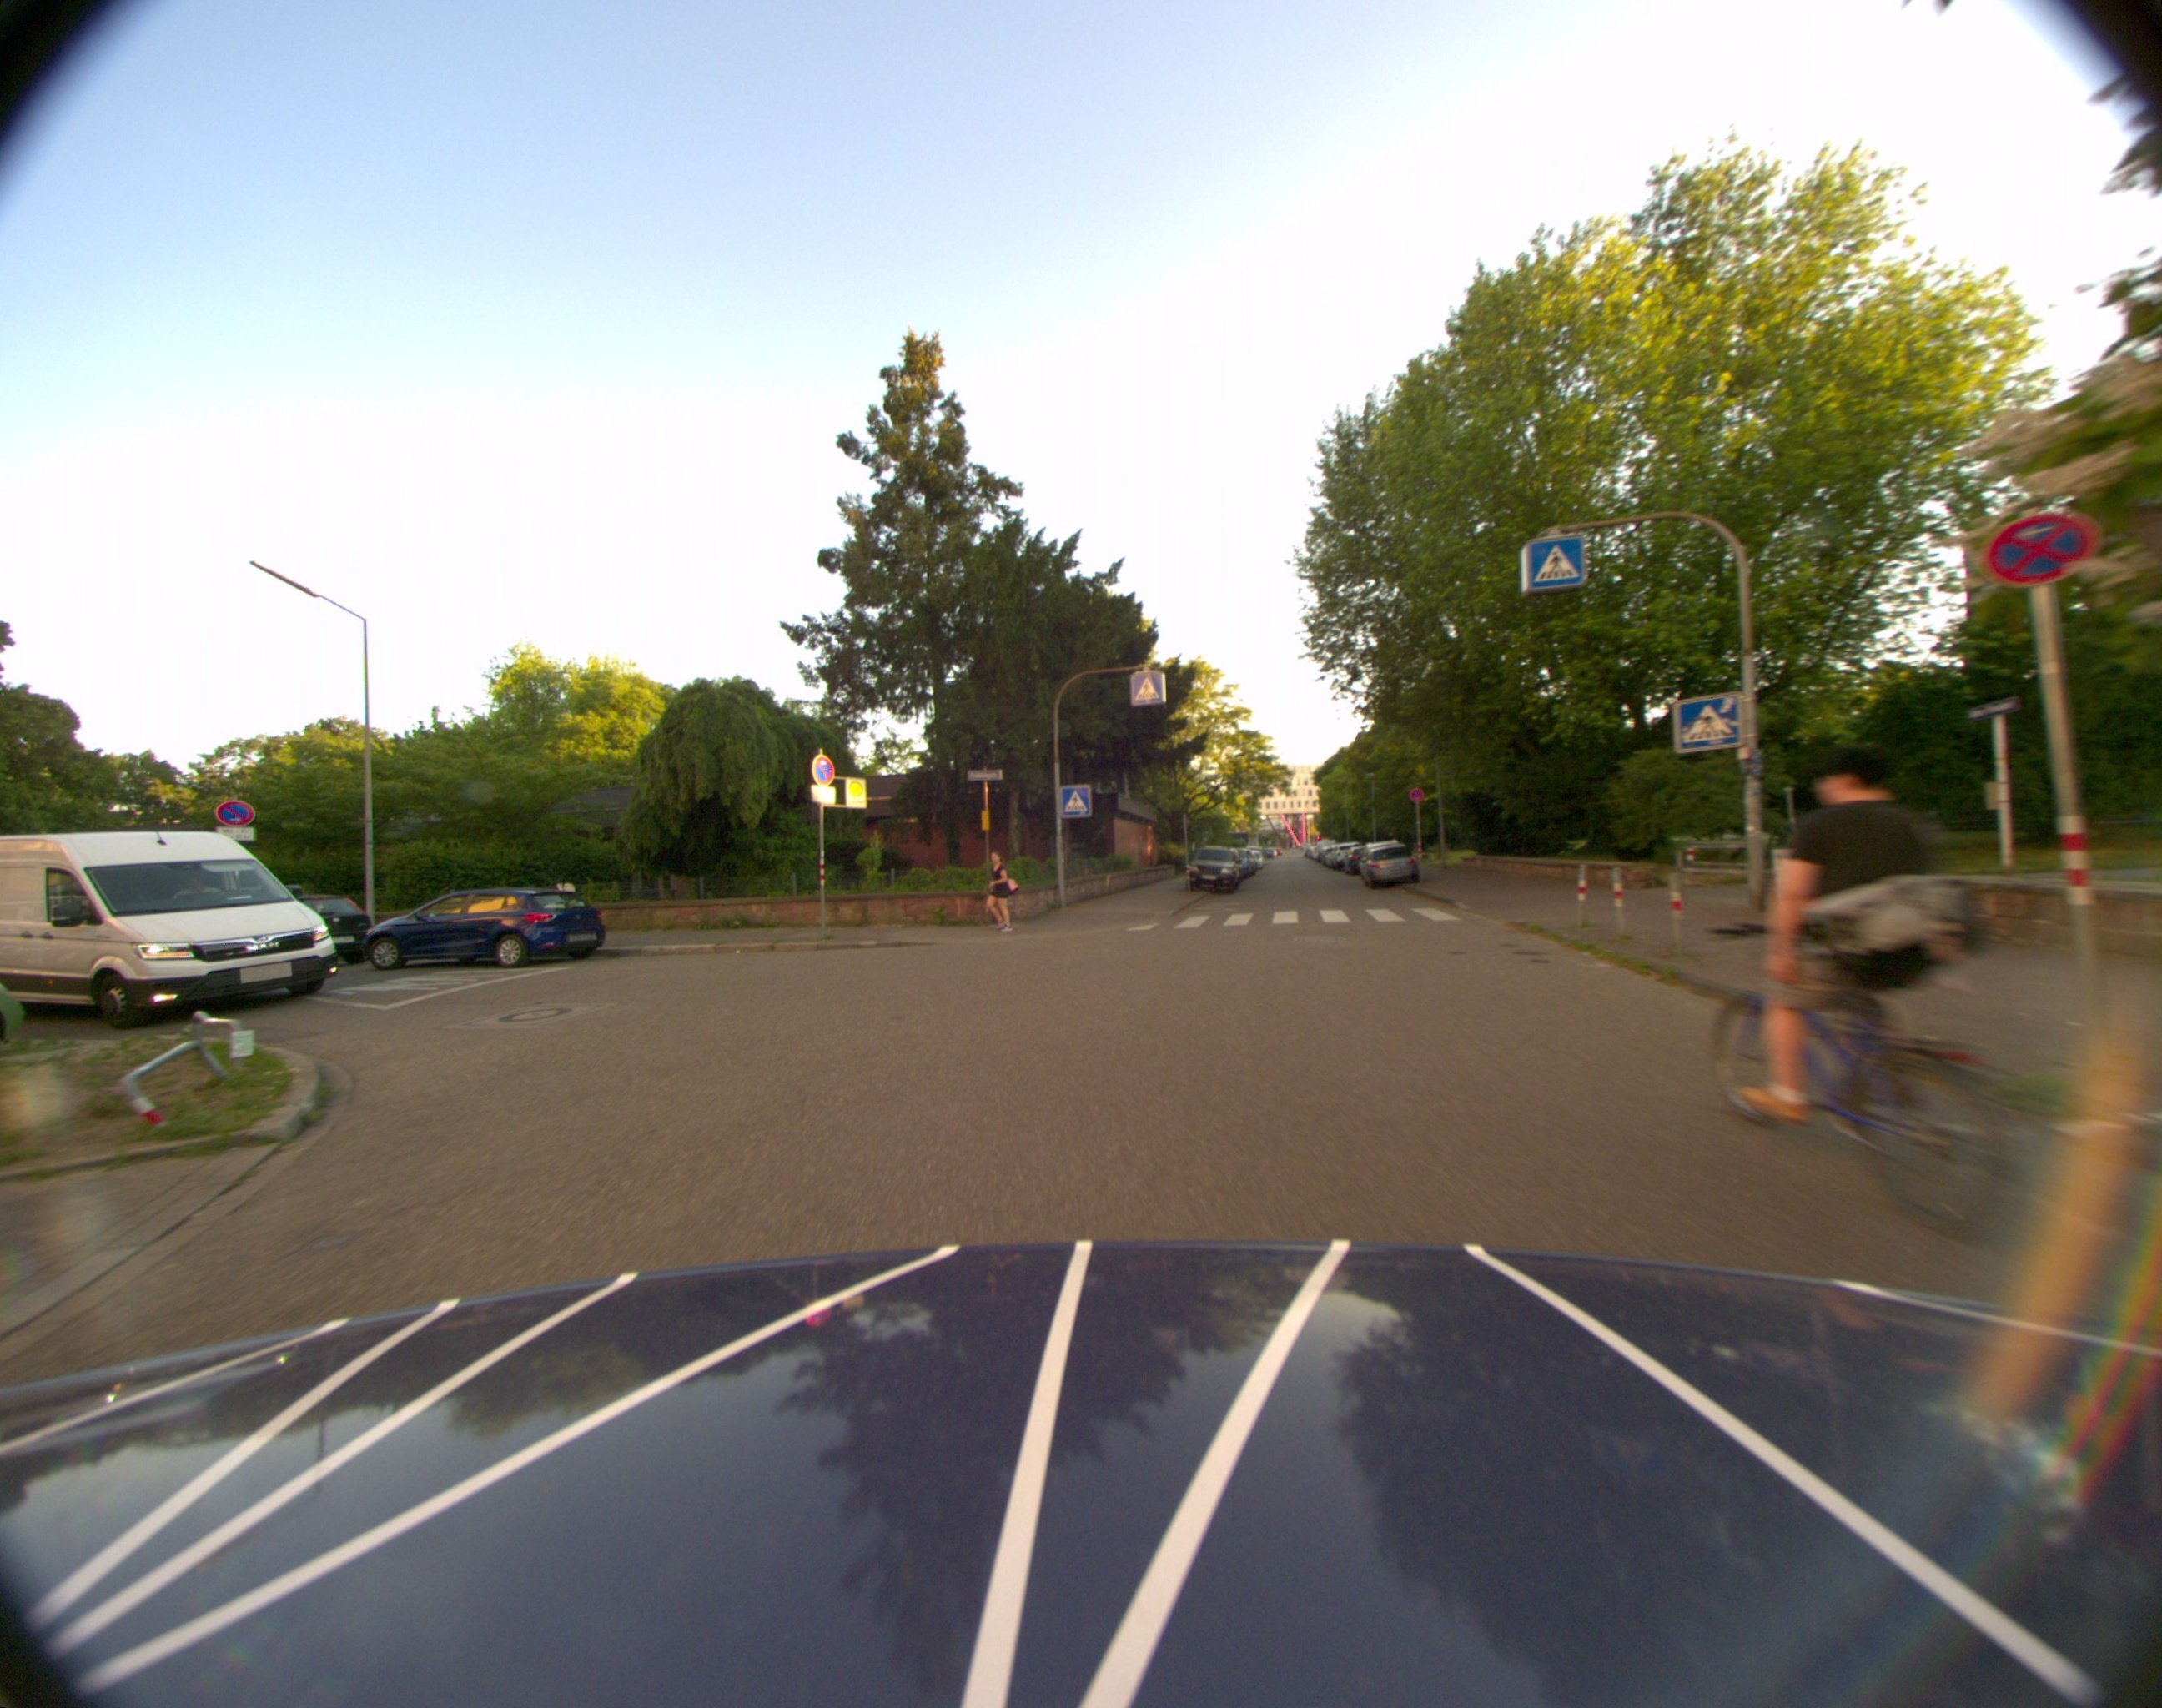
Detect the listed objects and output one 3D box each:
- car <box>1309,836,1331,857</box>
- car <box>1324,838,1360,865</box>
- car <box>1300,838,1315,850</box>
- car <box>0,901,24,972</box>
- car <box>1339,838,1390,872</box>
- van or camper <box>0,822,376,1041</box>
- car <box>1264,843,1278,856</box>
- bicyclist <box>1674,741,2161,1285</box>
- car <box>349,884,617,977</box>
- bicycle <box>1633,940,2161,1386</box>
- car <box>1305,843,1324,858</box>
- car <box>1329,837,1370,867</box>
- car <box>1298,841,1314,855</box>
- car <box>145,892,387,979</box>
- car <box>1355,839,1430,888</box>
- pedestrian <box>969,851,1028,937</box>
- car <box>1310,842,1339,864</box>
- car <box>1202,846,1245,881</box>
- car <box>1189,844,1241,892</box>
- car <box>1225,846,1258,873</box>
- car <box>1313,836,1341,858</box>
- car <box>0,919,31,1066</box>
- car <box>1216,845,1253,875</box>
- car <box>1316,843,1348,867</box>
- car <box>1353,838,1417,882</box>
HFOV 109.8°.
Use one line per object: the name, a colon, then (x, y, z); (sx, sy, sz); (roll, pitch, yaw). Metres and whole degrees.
car: (26.212, -0.839, 83.326); (1.785, 2.024, 3.888); (-8, -1, 13)
car: (18.247, -0.170, 53.263); (1.785, 1.562, 3.888); (-8, -1, 13)
car: (37.146, -1.598, 124.705); (1.785, 1.772, 4.016); (-8, -1, 13)
car: (-26.025, 1.935, 16.916); (3.397, 1.576, 1.535); (-2, 0, 10)
car: (14.574, 0.042, 39.219); (1.785, 1.467, 3.888); (-8, -1, 13)
van or camper: (-14.051, 1.034, 11.019); (6.858, 2.576, 2.097); (-2, 4, 16)
car: (29.021, -0.716, 116.103); (1.997, 1.739, 4.004); (-3, 0, 13)
bicyclist: (3.211, 0.540, 3.071); (0.860, 1.797, 1.017); (-2, 0, 9)
car: (-11.108, 1.401, 14.259); (3.785, 1.476, 1.725); (-2, 0, 7)
bicycle: (3.240, 1.020, 3.175); (0.760, 1.090, 1.865); (-1, 1, 10)
car: (30.187, -0.463, 98.300); (1.785, 1.784, 3.888); (-8, -1, 13)
car: (16.650, -0.114, 47.248); (1.785, 1.562, 3.888); (-8, -1, 13)
car: (32.010, -0.842, 108.270); (1.785, 1.772, 4.016); (-8, -1, 13)
car: (-15.993, 1.579, 14.977); (3.505, 1.476, 1.535); (-2, 0, 10)
car: (11.355, 0.320, 27.989); (1.785, 1.442, 3.888); (-8, -1, 13)
pedestrian: (-1.716, 0.801, 15.859); (0.859, 1.716, 0.827); (4, 3, 45)
car: (20.355, -0.117, 63.545); (1.785, 1.562, 3.888); (-8, -1, 13)
car: (6.618, 0.396, 35.060); (1.784, 1.491, 3.888); (2, 1, 13)
car: (5.260, 0.497, 29.514); (1.784, 1.743, 3.888); (0, 1, 13)
car: (9.728, 0.289, 45.934); (1.784, 1.491, 3.888); (2, 1, 13)
car: (23.579, -0.681, 72.861); (1.963, 1.825, 3.888); (-8, -1, 13)
car: (-12.243, 1.423, 6.433); (1.624, 1.503, 3.575); (-3, -2, 11)
car: (8.270, 0.294, 40.689); (1.784, 1.491, 3.888); (2, 1, 13)
car: (19.134, 0.031, 58.066); (1.785, 1.562, 3.888); (-8, -1, 13)
car: (12.965, 0.231, 32.644); (1.785, 1.567, 3.888); (-8, -1, 13)
